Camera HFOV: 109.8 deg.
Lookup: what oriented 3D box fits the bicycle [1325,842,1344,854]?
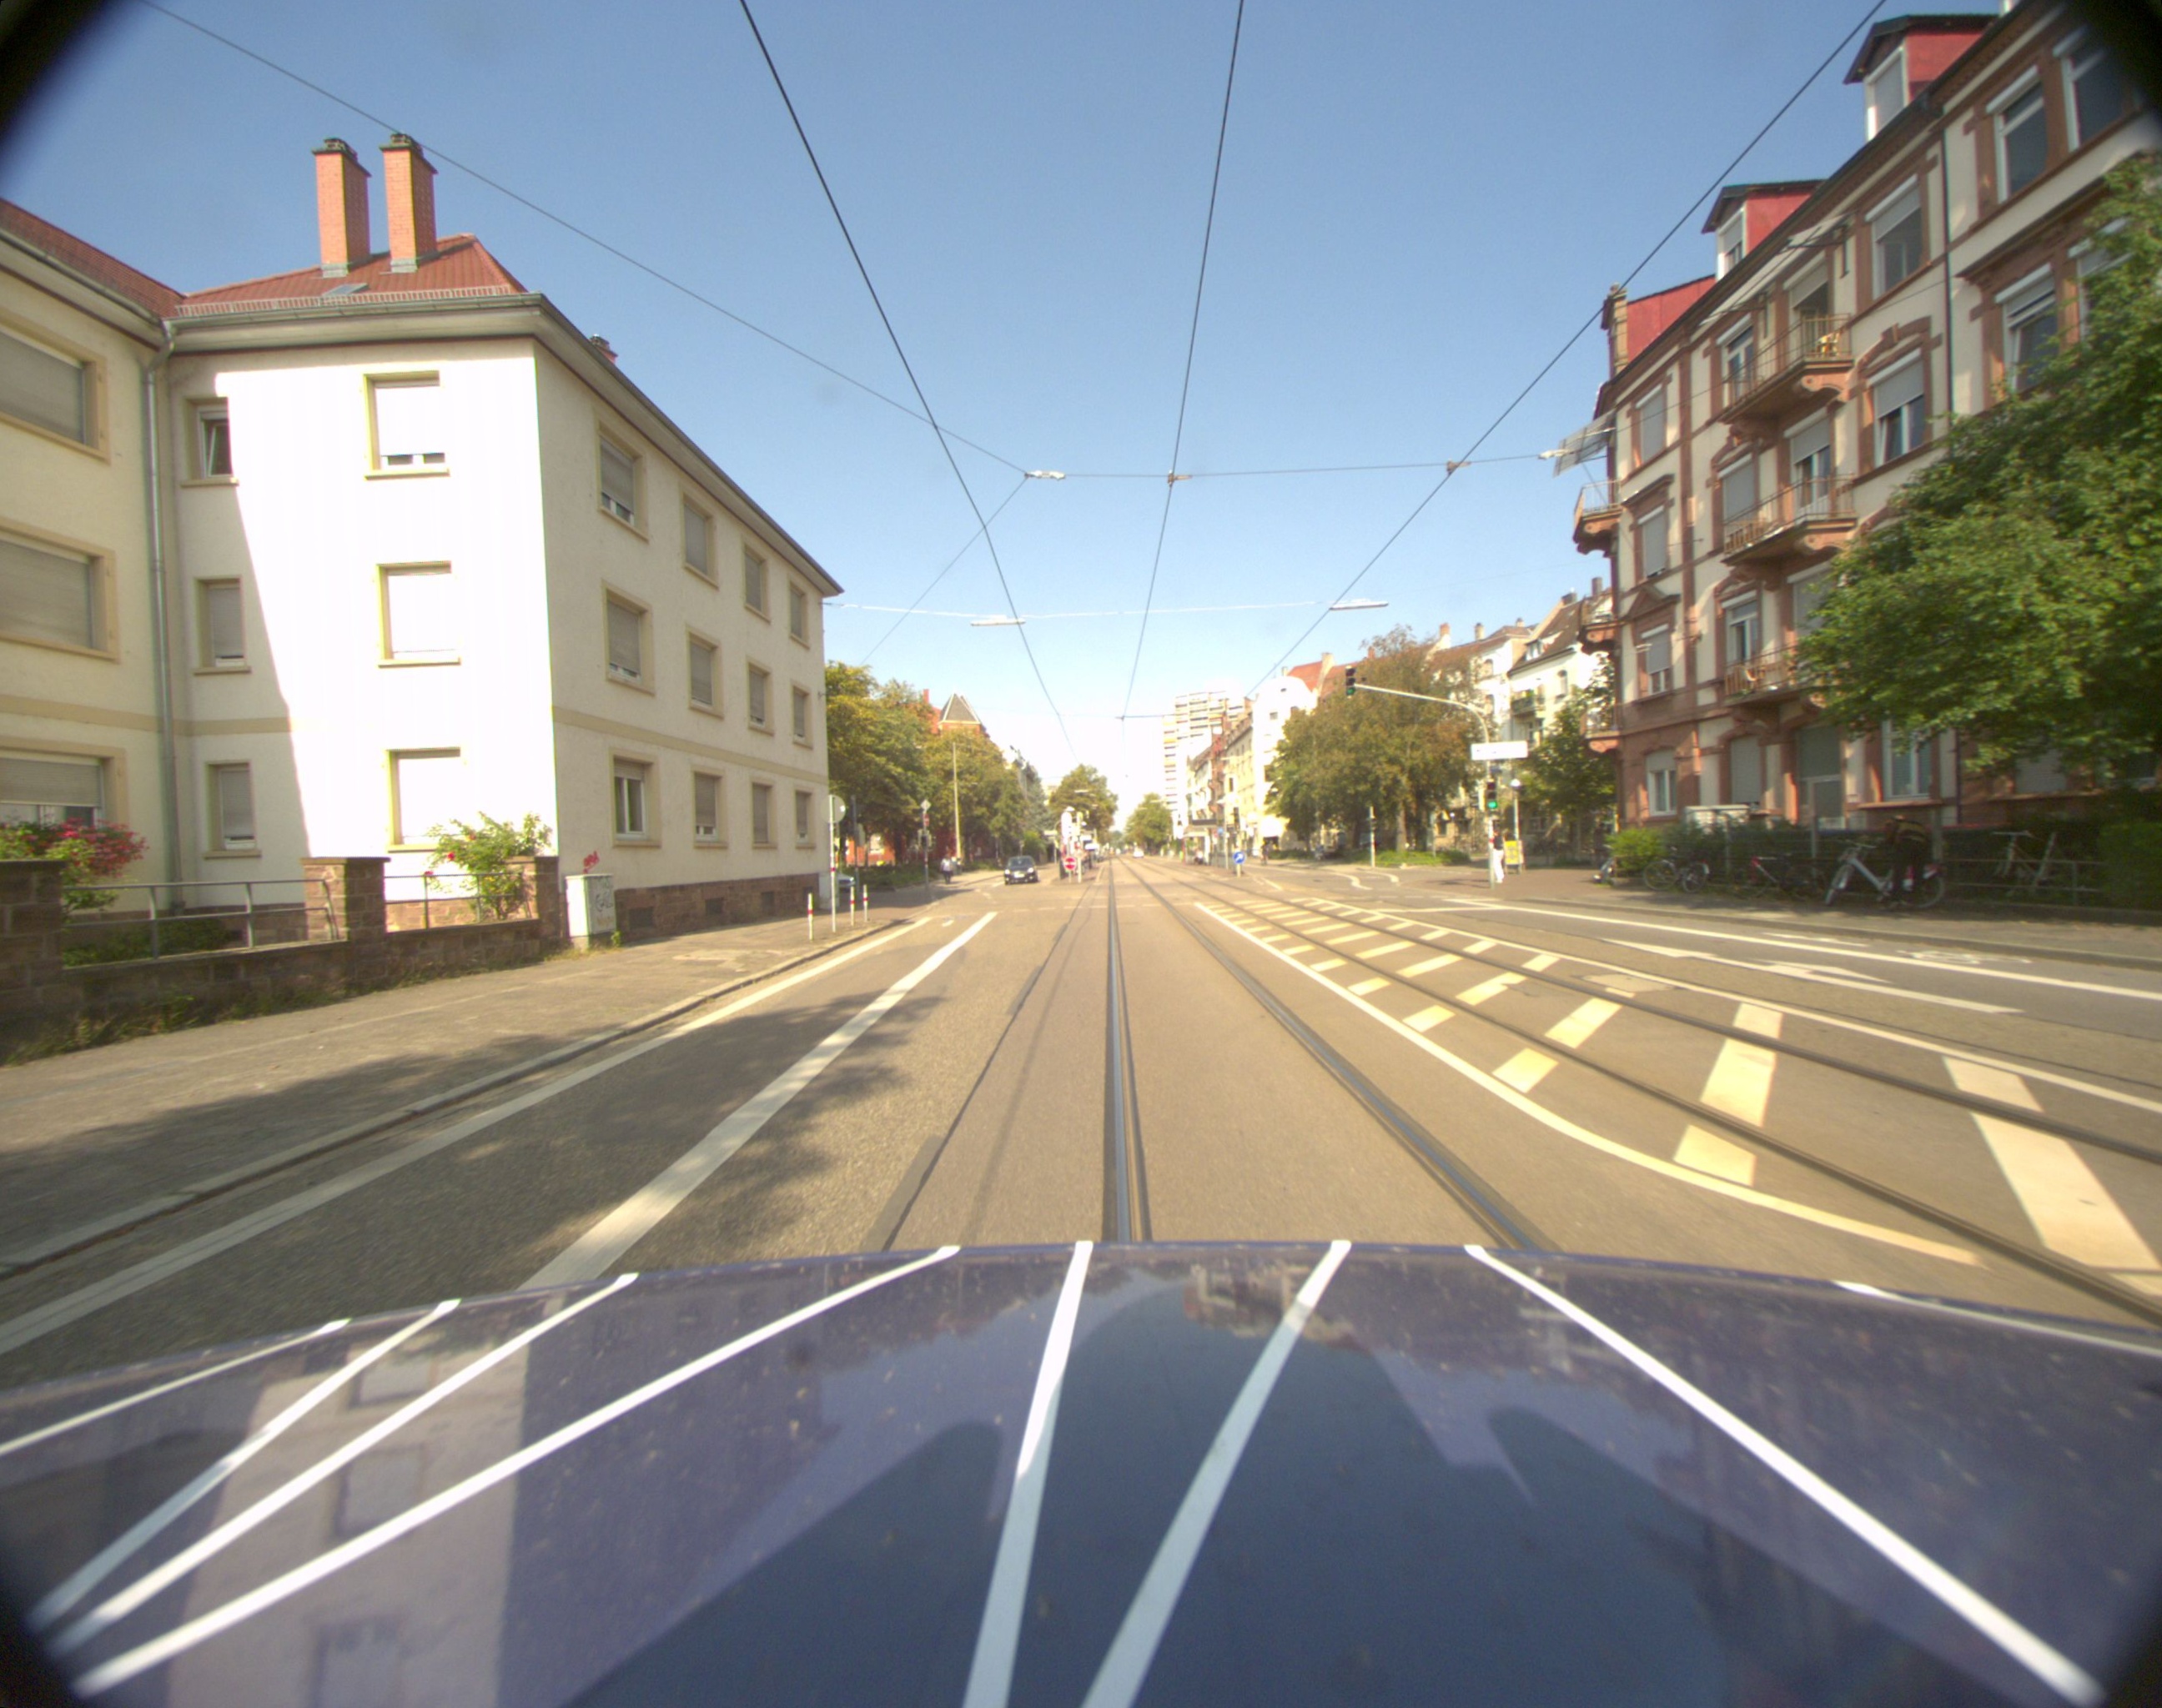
[{"bbox_3d":[26.127,-0.614,78.177,2.345,1.073,0.695,-4,2,-40],"label":"bicycle"}]

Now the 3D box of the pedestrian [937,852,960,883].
[{"bbox_3d":[-7.501,0.771,43.017,1.079,1.715,0.969,1,1,1],"label":"pedestrian"}]

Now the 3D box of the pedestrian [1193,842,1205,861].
[{"bbox_3d":[8.867,-0.184,57.175,0.794,1.448,0.718,-2,1,3],"label":"pedestrian"}]

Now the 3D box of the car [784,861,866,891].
[{"bbox_3d":[-13.284,1.130,39.215,4.940,1.460,1.881,-1,-1,43],"label":"car"}]

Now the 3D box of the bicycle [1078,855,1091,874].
[{"bbox_3d":[0.211,0.638,46.589,0.473,1.097,1.738,-2,1,10],"label":"bicycle"}]

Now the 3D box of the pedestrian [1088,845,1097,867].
[{"bbox_3d":[0.885,0.147,60.147,0.590,1.711,0.607,-2,1,4],"label":"pedestrian"}]

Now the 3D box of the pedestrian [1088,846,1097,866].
[{"bbox_3d":[0.875,0.176,59.500,0.590,1.536,0.607,-2,1,4],"label":"pedestrian"}]

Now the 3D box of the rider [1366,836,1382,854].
[{"bbox_3d":[26.120,-0.805,67.780,0.996,1.503,1.114,-3,1,6],"label":"rider"}]

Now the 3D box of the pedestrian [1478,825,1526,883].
[{"bbox_3d":[13.382,-0.011,24.171,0.906,1.756,1.186,-2,1,6],"label":"pedestrian"}]

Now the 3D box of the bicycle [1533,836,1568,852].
[{"bbox_3d":[34.321,-0.751,55.577,2.089,1.097,0.657,-2,1,10],"label":"bicycle"}]

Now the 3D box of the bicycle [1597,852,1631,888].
[{"bbox_3d":[14.191,0.413,20.216,0.526,0.855,1.831,-2,1,41],"label":"bicycle"}]

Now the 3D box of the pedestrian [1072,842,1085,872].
[{"bbox_3d":[-0.170,0.179,46.689,0.691,1.756,0.796,-2,1,1],"label":"pedestrian"}]

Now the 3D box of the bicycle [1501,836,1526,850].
[{"bbox_3d":[34.458,-0.893,60.615,0.656,1.097,2.333,-2,1,0],"label":"bicycle"}]

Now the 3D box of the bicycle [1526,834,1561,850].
[{"bbox_3d":[34.523,-0.888,56.694,2.089,1.097,0.657,-2,1,10],"label":"bicycle"}]

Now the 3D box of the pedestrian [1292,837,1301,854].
[{"bbox_3d":[23.758,-0.922,83.728,0.735,1.857,0.673,-2,1,-1],"label":"pedestrian"}]

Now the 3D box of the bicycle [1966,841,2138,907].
[{"bbox_3d":[13.897,0.277,10.898,1.701,0.855,0.528,-2,1,3],"label":"bicycle"}]

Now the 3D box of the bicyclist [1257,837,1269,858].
[{"bbox_3d":[13.948,-0.490,58.149,0.674,1.605,1.044,-2,1,4],"label":"bicyclist"}]

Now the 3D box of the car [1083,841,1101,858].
[{"bbox_3d":[1.603,-0.643,105.262,2.087,2.264,4.828,-2,0,4],"label":"car"}]

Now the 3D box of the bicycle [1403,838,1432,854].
[{"bbox_3d":[31.426,-0.771,70.976,2.303,1.363,0.867,-2,1,-9],"label":"bicycle"}]

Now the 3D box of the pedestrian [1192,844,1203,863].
[{"bbox_3d":[8.923,-0.020,58.244,0.678,1.448,0.718,-2,1,3],"label":"pedestrian"}]

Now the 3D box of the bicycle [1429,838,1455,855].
[{"bbox_3d":[32.408,-0.674,68.191,2.306,1.363,0.866,-2,1,-27],"label":"bicycle"}]

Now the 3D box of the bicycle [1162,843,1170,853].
[{"bbox_3d":[17.383,-1.252,155.502,1.015,1.847,3.554,-4,1,-3],"label":"bicycle"}]

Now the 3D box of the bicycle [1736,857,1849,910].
[{"bbox_3d":[12.723,0.494,13.649,0.527,0.855,1.703,-2,0,5],"label":"bicycle"}]

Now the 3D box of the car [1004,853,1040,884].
[{"bbox_3d":[-3.184,0.750,41.481,1.776,1.459,3.999,-3,0,-3],"label":"car"}]

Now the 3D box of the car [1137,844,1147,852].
[{"bbox_3d":[11.308,-1.147,141.929,1.732,1.426,3.922,-2,0,3],"label":"car"}]

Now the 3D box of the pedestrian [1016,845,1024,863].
[{"bbox_3d":[-6.172,-0.001,77.075,0.543,1.708,0.662,-2,1,18],"label":"pedestrian"}]

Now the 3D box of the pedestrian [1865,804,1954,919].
[{"bbox_3d":[12.420,0.107,11.406,0.639,1.669,0.633,-2,1,-10],"label":"pedestrian"}]

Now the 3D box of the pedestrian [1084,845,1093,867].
[{"bbox_3d":[0.605,0.159,61.567,0.638,1.738,0.634,-2,1,4],"label":"pedestrian"}]

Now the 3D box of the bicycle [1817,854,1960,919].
[{"bbox_3d":[12.625,0.479,11.957,0.527,0.922,1.703,-2,0,5],"label":"bicycle"}]

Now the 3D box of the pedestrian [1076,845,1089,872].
[{"bbox_3d":[0.074,0.267,50.042,0.769,1.750,0.680,-2,1,1],"label":"pedestrian"}]

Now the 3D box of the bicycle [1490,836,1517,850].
[{"bbox_3d":[33.696,-0.854,60.602,0.773,1.097,2.333,-2,1,0],"label":"bicycle"}]

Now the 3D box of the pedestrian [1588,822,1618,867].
[{"bbox_3d":[18.530,-0.334,26.972,0.840,1.562,0.947,-2,1,36],"label":"pedestrian"}]

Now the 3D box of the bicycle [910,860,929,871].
[{"bbox_3d":[-16.867,1.185,79.313,0.607,1.052,1.843,-5,-1,44],"label":"bicycle"}]

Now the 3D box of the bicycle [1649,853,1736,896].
[{"bbox_3d":[13.257,0.430,16.539,0.527,0.855,1.829,-2,0,5],"label":"bicycle"}]

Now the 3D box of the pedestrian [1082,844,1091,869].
[{"bbox_3d":[0.391,0.196,54.074,0.553,1.750,0.533,-2,1,1],"label":"pedestrian"}]

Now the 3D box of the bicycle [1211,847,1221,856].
[{"bbox_3d":[17.084,-0.331,96.135,0.545,1.097,1.895,-2,1,-11],"label":"bicycle"}]

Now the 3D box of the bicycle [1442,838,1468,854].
[{"bbox_3d":[32.990,-0.718,67.000,2.306,1.363,0.866,-2,1,-27],"label":"bicycle"}]

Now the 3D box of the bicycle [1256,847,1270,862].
[{"bbox_3d":[13.971,0.011,58.216,0.685,1.097,2.069,-2,1,4],"label":"bicycle"}]

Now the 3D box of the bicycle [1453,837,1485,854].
[{"bbox_3d":[33.441,-0.748,65.502,2.303,1.363,0.867,-2,1,-10],"label":"bicycle"}]
